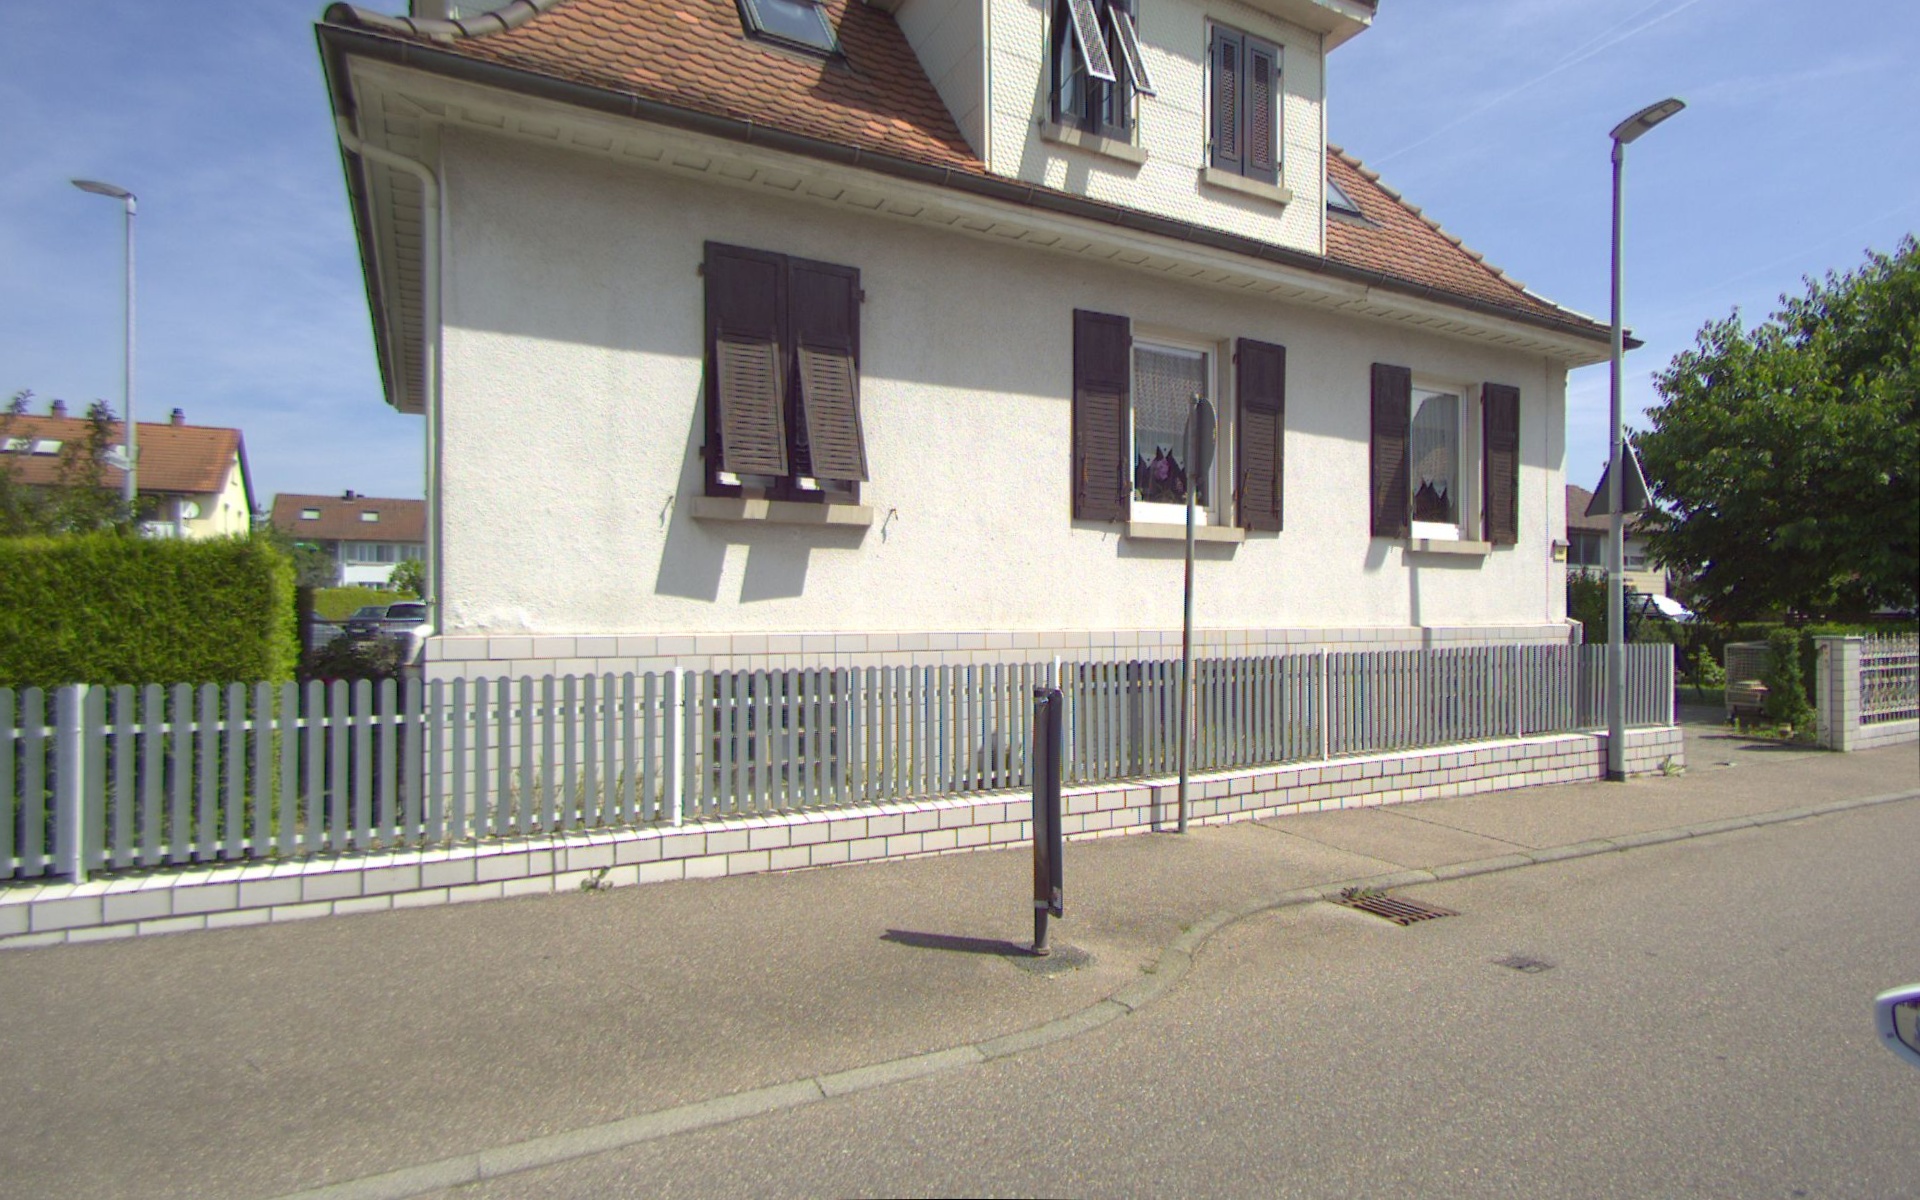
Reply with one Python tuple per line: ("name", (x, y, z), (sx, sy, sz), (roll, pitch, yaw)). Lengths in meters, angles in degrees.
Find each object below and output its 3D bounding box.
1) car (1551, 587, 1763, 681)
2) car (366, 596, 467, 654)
("car", (20.306, 0.954, 29.504), (1.942, 2.525, 4.781), (1, -1, -29))
("car", (-16.657, 0.732, 30.969), (1.745, 1.673, 3.766), (1, 0, -13))
